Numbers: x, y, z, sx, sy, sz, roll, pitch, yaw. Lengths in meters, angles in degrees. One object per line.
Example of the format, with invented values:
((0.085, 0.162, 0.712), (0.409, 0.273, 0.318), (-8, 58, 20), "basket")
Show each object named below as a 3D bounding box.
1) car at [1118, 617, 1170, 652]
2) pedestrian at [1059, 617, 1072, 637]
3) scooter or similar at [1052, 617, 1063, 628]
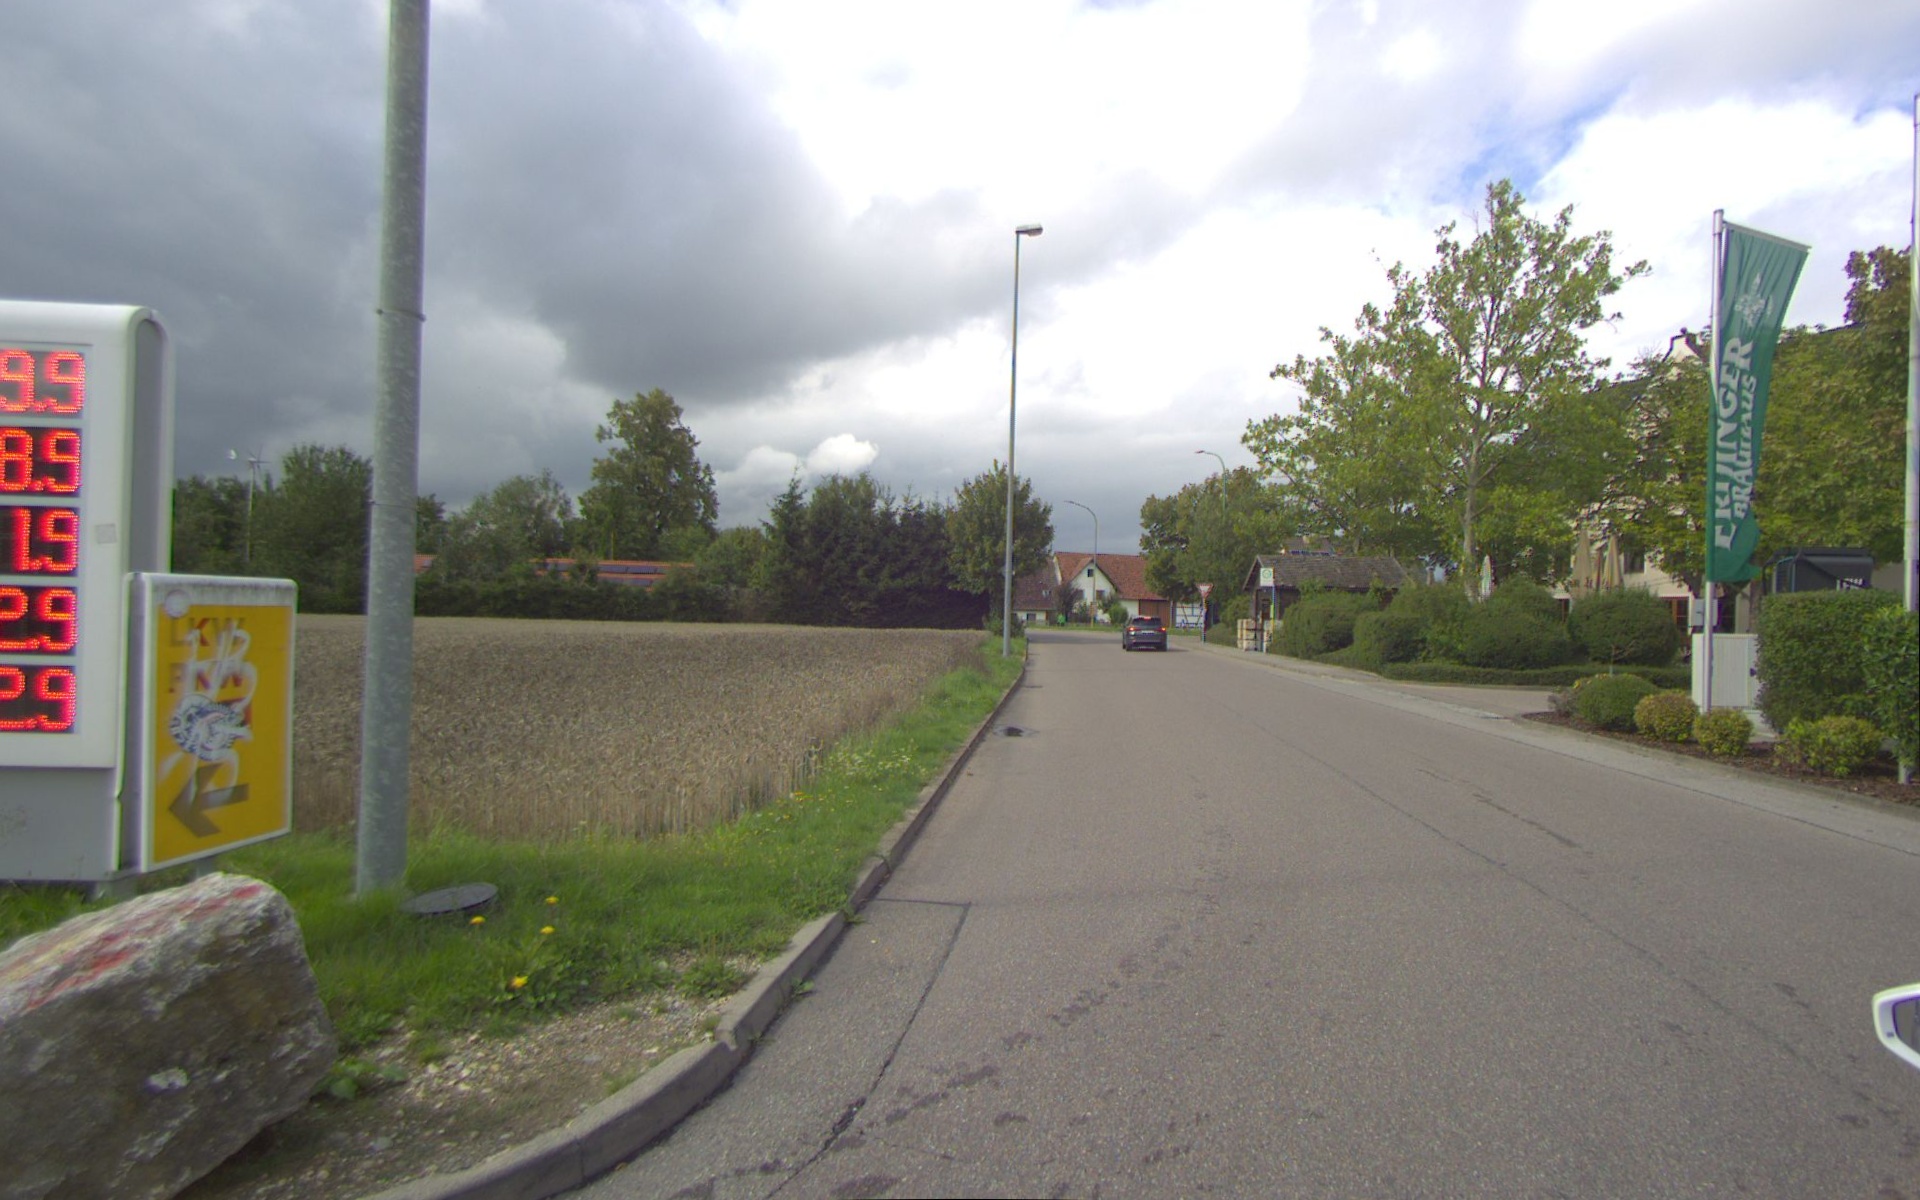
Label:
((8.259, 1.539, 45.365), (1.768, 1.481, 3.663), (1, -1, 2), "car")
((9.361, 2.420, 89.018), (0.782, 1.686, 0.707), (6, -2, -28), "pedestrian")
((8.667, 1.990, 89.412), (0.625, 0.960, 0.618), (6, -2, -28), "scooter or similar")
